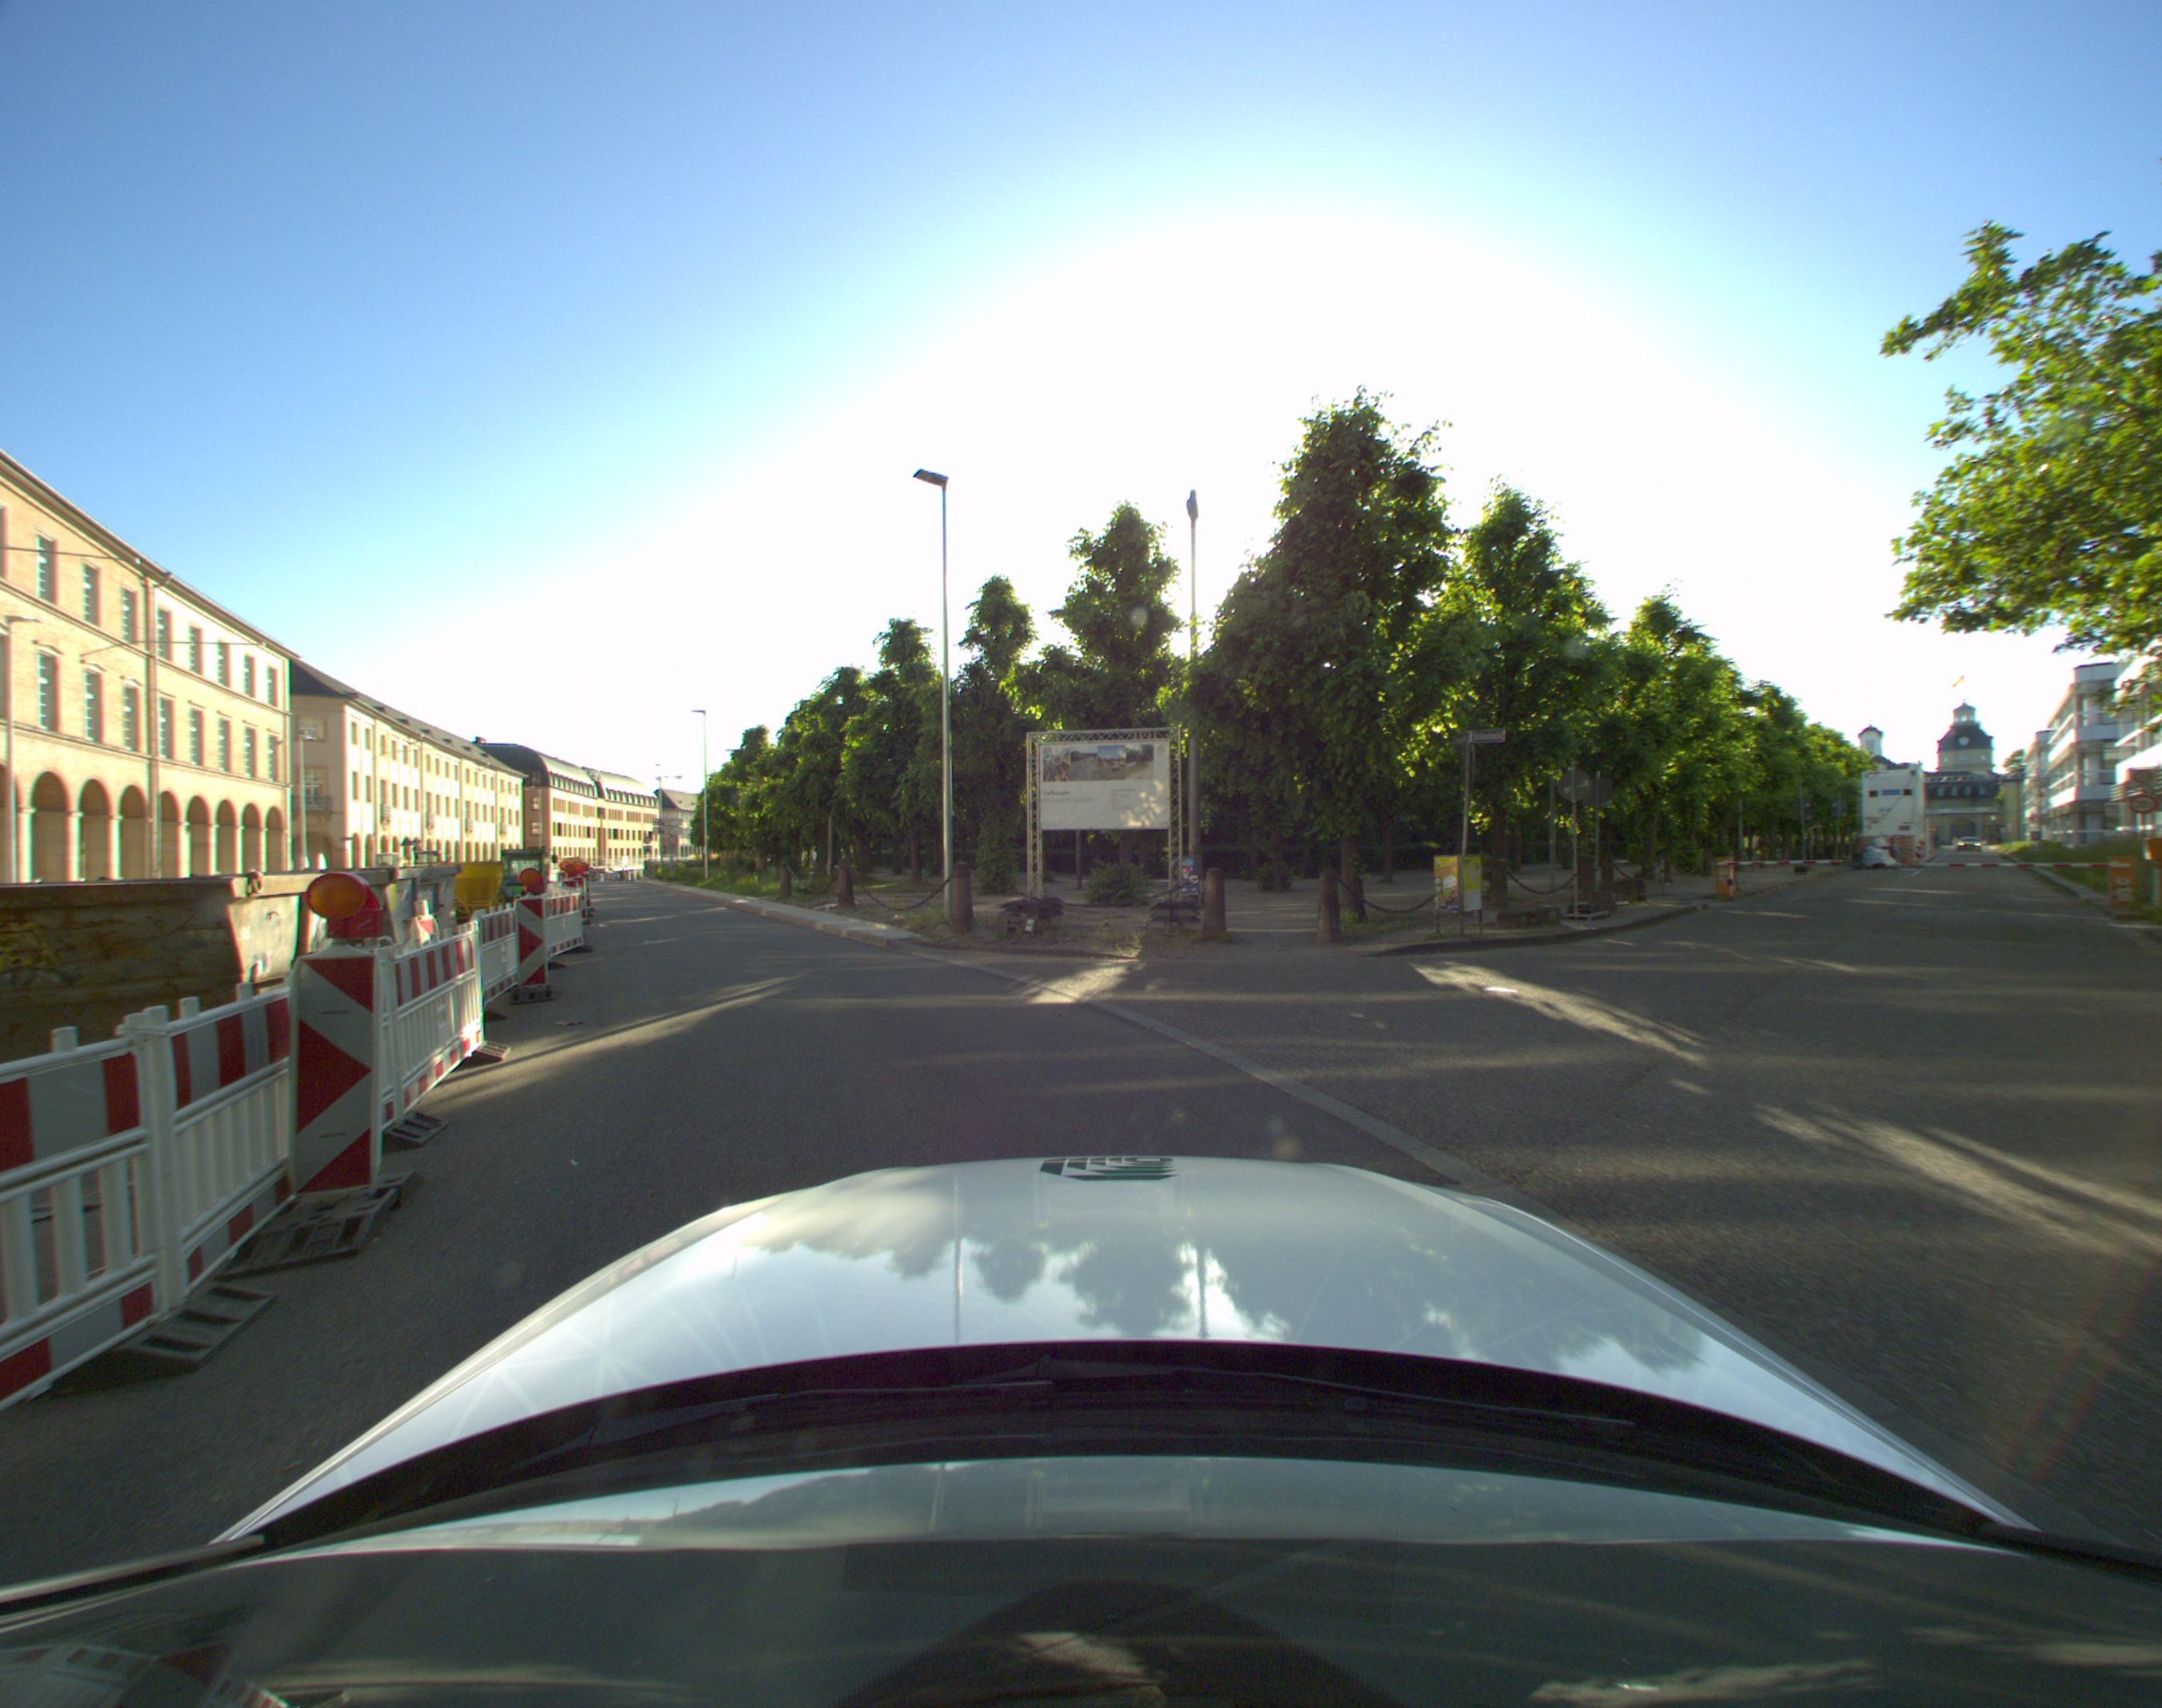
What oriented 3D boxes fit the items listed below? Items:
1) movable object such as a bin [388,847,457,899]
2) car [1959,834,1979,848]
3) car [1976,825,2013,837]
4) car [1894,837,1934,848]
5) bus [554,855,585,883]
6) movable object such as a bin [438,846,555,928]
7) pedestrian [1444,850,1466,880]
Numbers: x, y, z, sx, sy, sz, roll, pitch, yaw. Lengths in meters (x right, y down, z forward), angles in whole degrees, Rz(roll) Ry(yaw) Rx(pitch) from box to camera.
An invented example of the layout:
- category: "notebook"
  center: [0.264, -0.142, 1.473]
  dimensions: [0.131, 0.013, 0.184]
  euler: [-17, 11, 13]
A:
- category: "movable object such as a bin"
  center: [-34.351, 0.922, 42.604]
  dimensions: [2.087, 2.475, 4.573]
  euler: [-1, 1, -30]
- category: "car"
  center: [95.328, -1.413, 87.445]
  dimensions: [4.022, 1.499, 1.441]
  euler: [-1, 0, -43]
- category: "car"
  center: [152.428, -3.846, 135.922]
  dimensions: [2.010, 2.013, 3.955]
  euler: [-1, 1, -38]
- category: "car"
  center: [136.947, -1.868, 133.864]
  dimensions: [2.011, 1.790, 4.517]
  euler: [-1, 1, -43]
- category: "bus"
  center: [-51.527, 1.512, 82.109]
  dimensions: [2.084, 2.686, 4.642]
  euler: [-1, -2, -26]
- category: "movable object such as a bin"
  center: [-15.773, 0.772, 22.216]
  dimensions: [2.062, 1.949, 4.295]
  euler: [-1, 1, -29]
- category: "pedestrian"
  center: [19.962, 0.583, 43.484]
  dimensions: [0.829, 1.583, 0.685]
  euler: [-1, 0, 45]
